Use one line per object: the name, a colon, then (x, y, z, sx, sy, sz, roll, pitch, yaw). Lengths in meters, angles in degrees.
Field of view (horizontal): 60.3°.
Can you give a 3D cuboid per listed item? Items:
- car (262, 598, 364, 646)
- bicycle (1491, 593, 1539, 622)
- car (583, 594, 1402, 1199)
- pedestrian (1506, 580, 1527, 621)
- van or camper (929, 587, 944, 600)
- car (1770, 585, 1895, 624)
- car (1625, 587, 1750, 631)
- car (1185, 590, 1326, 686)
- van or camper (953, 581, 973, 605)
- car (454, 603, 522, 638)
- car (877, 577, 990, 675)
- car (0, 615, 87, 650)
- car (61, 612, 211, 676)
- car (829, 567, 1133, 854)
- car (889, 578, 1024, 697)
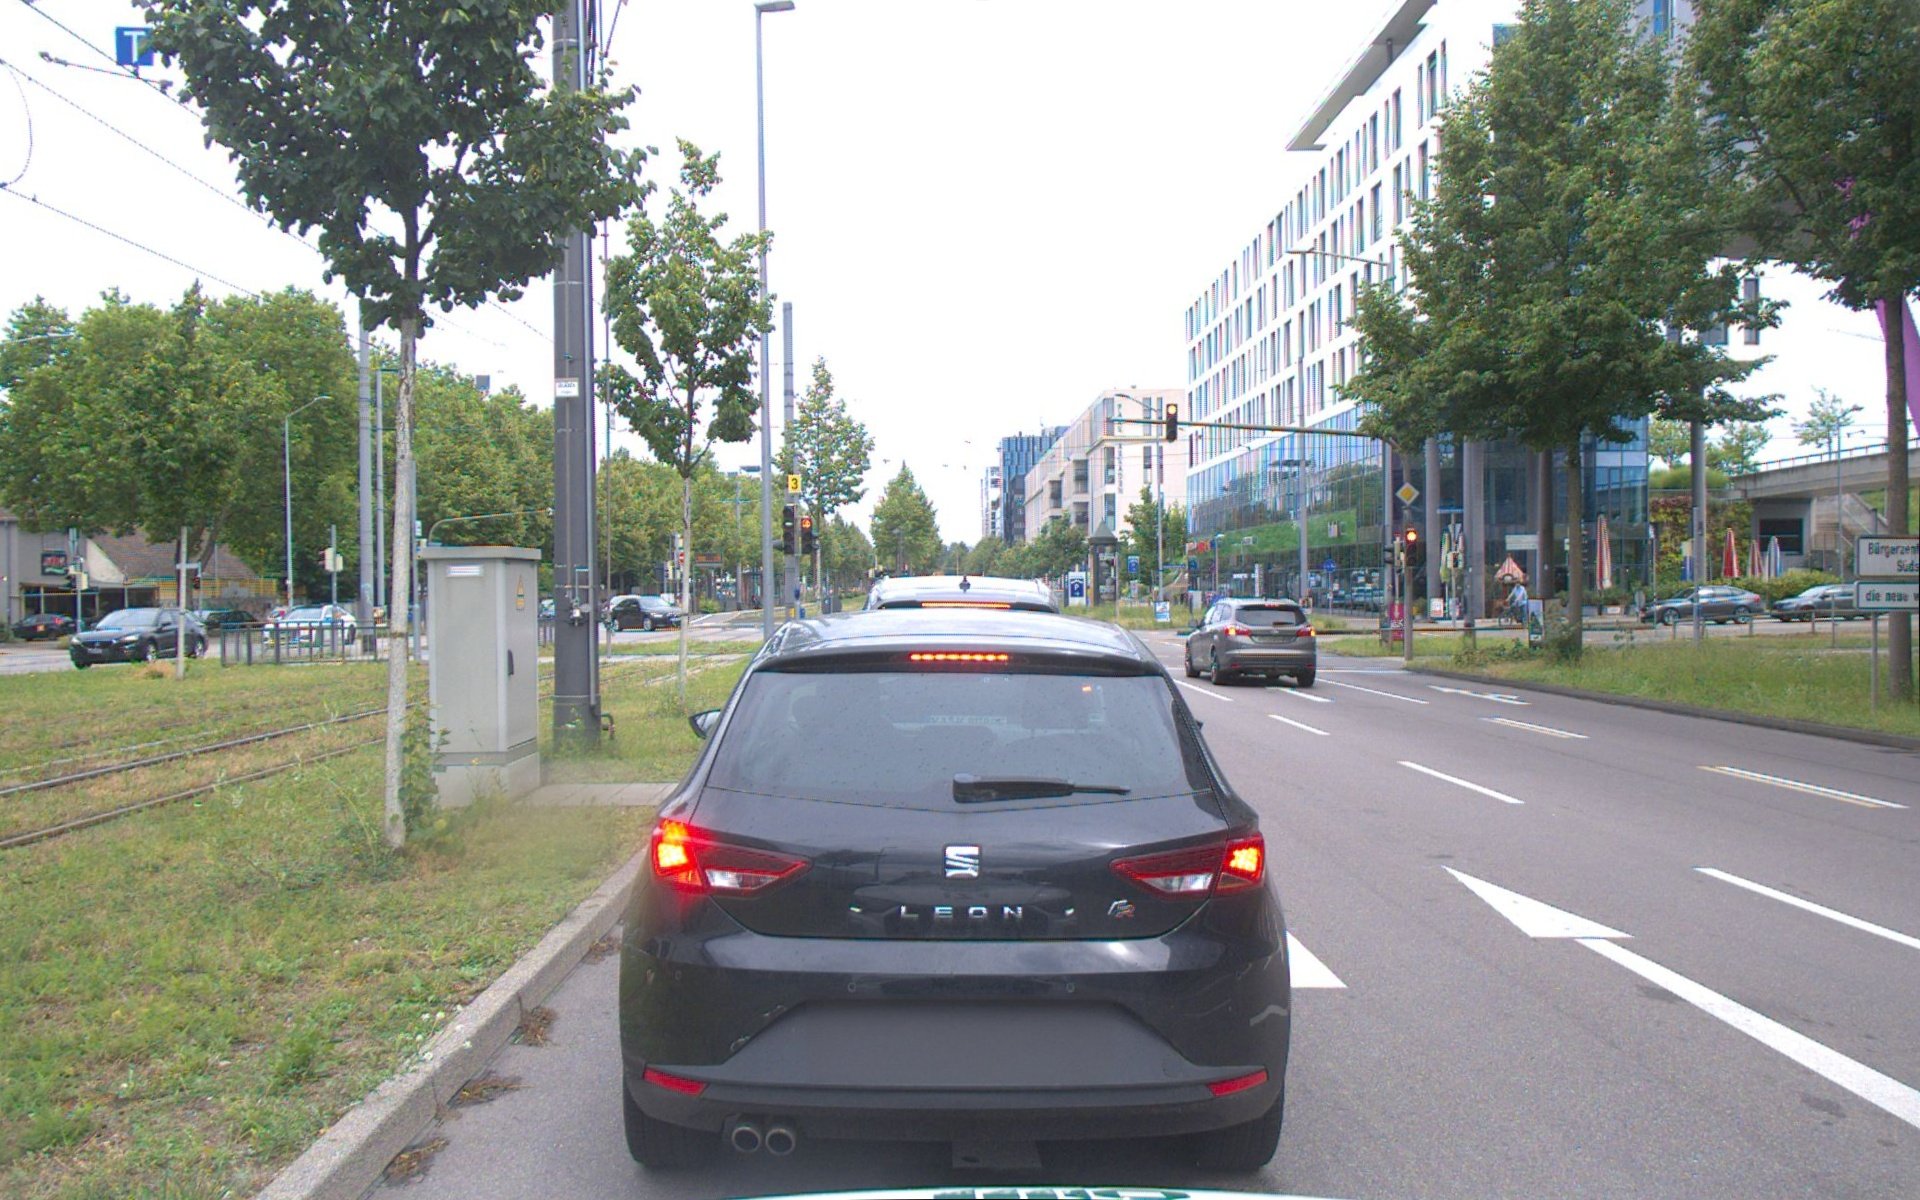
car: (-23.351, 0.749, 59.907, 1.774, 1.616, 5.076, -1, 0, -1)
bicycle: (22.355, 0.298, 66.630, 1.755, 1.104, 0.618, -1, 0, 1)
car: (0.019, 0.720, 5.471, 1.708, 1.442, 3.999, 1, 0, -2)
pedestrian: (22.418, 0.023, 66.629, 0.602, 1.632, 0.619, -1, 0, 1)
van or camper: (-3.059, -0.877, 217.680, 1.953, 1.643, 4.789, 0, 2, 0)
car: (34.415, 0.170, 65.300, 3.996, 1.480, 1.758, -1, 0, 1)
car: (28.508, 0.326, 64.890, 4.163, 1.643, 1.758, -1, 0, 1)
car: (5.225, 0.627, 29.735, 1.712, 1.525, 4.268, 0, 1, -1)
van or camper: (0.275, -0.766, 176.880, 2.066, 2.397, 4.923, 0, 2, 0)
car: (-20.329, 0.848, 71.425, 1.775, 1.401, 4.268, -1, 0, -2)
car: (-0.438, 0.435, 31.136, 1.952, 1.711, 4.001, 1, 1, 1)
car: (-50.482, 1.763, 90.633, 4.190, 1.847, 2.108, -1, 0, 3)
car: (-20.299, 1.051, 40.949, 1.765, 1.401, 4.056, -1, 0, -2)
car: (0.094, 0.632, 11.698, 1.766, 1.653, 3.999, -1, 0, -1)
car: (0.021, 0.525, 26.082, 1.952, 1.711, 4.001, 1, 1, 2)
